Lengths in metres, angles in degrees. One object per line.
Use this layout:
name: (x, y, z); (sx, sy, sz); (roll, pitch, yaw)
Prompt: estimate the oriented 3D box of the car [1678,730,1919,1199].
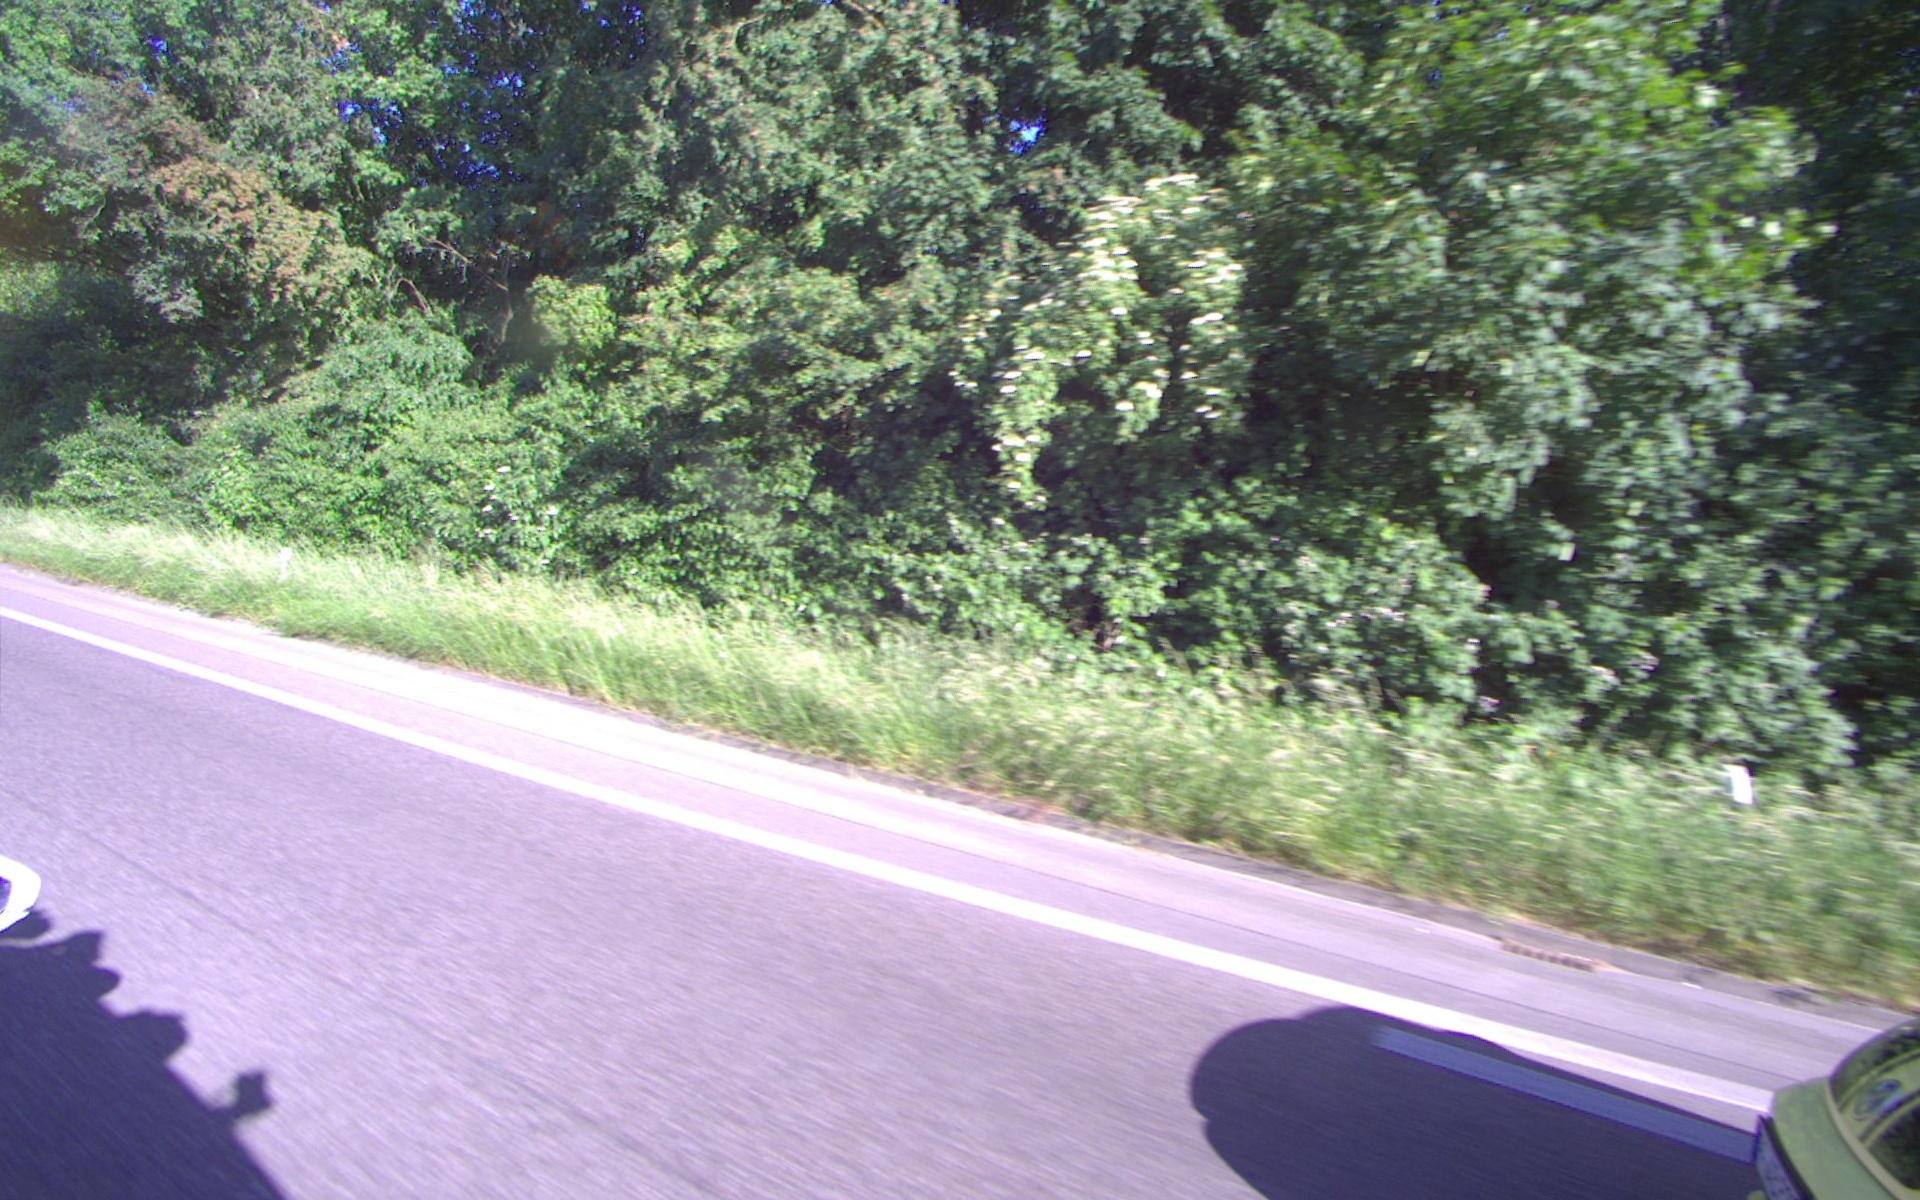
car: (3.775, 1.287, 1.352); (4.283, 1.479, 1.883); (7, -1, 31)
